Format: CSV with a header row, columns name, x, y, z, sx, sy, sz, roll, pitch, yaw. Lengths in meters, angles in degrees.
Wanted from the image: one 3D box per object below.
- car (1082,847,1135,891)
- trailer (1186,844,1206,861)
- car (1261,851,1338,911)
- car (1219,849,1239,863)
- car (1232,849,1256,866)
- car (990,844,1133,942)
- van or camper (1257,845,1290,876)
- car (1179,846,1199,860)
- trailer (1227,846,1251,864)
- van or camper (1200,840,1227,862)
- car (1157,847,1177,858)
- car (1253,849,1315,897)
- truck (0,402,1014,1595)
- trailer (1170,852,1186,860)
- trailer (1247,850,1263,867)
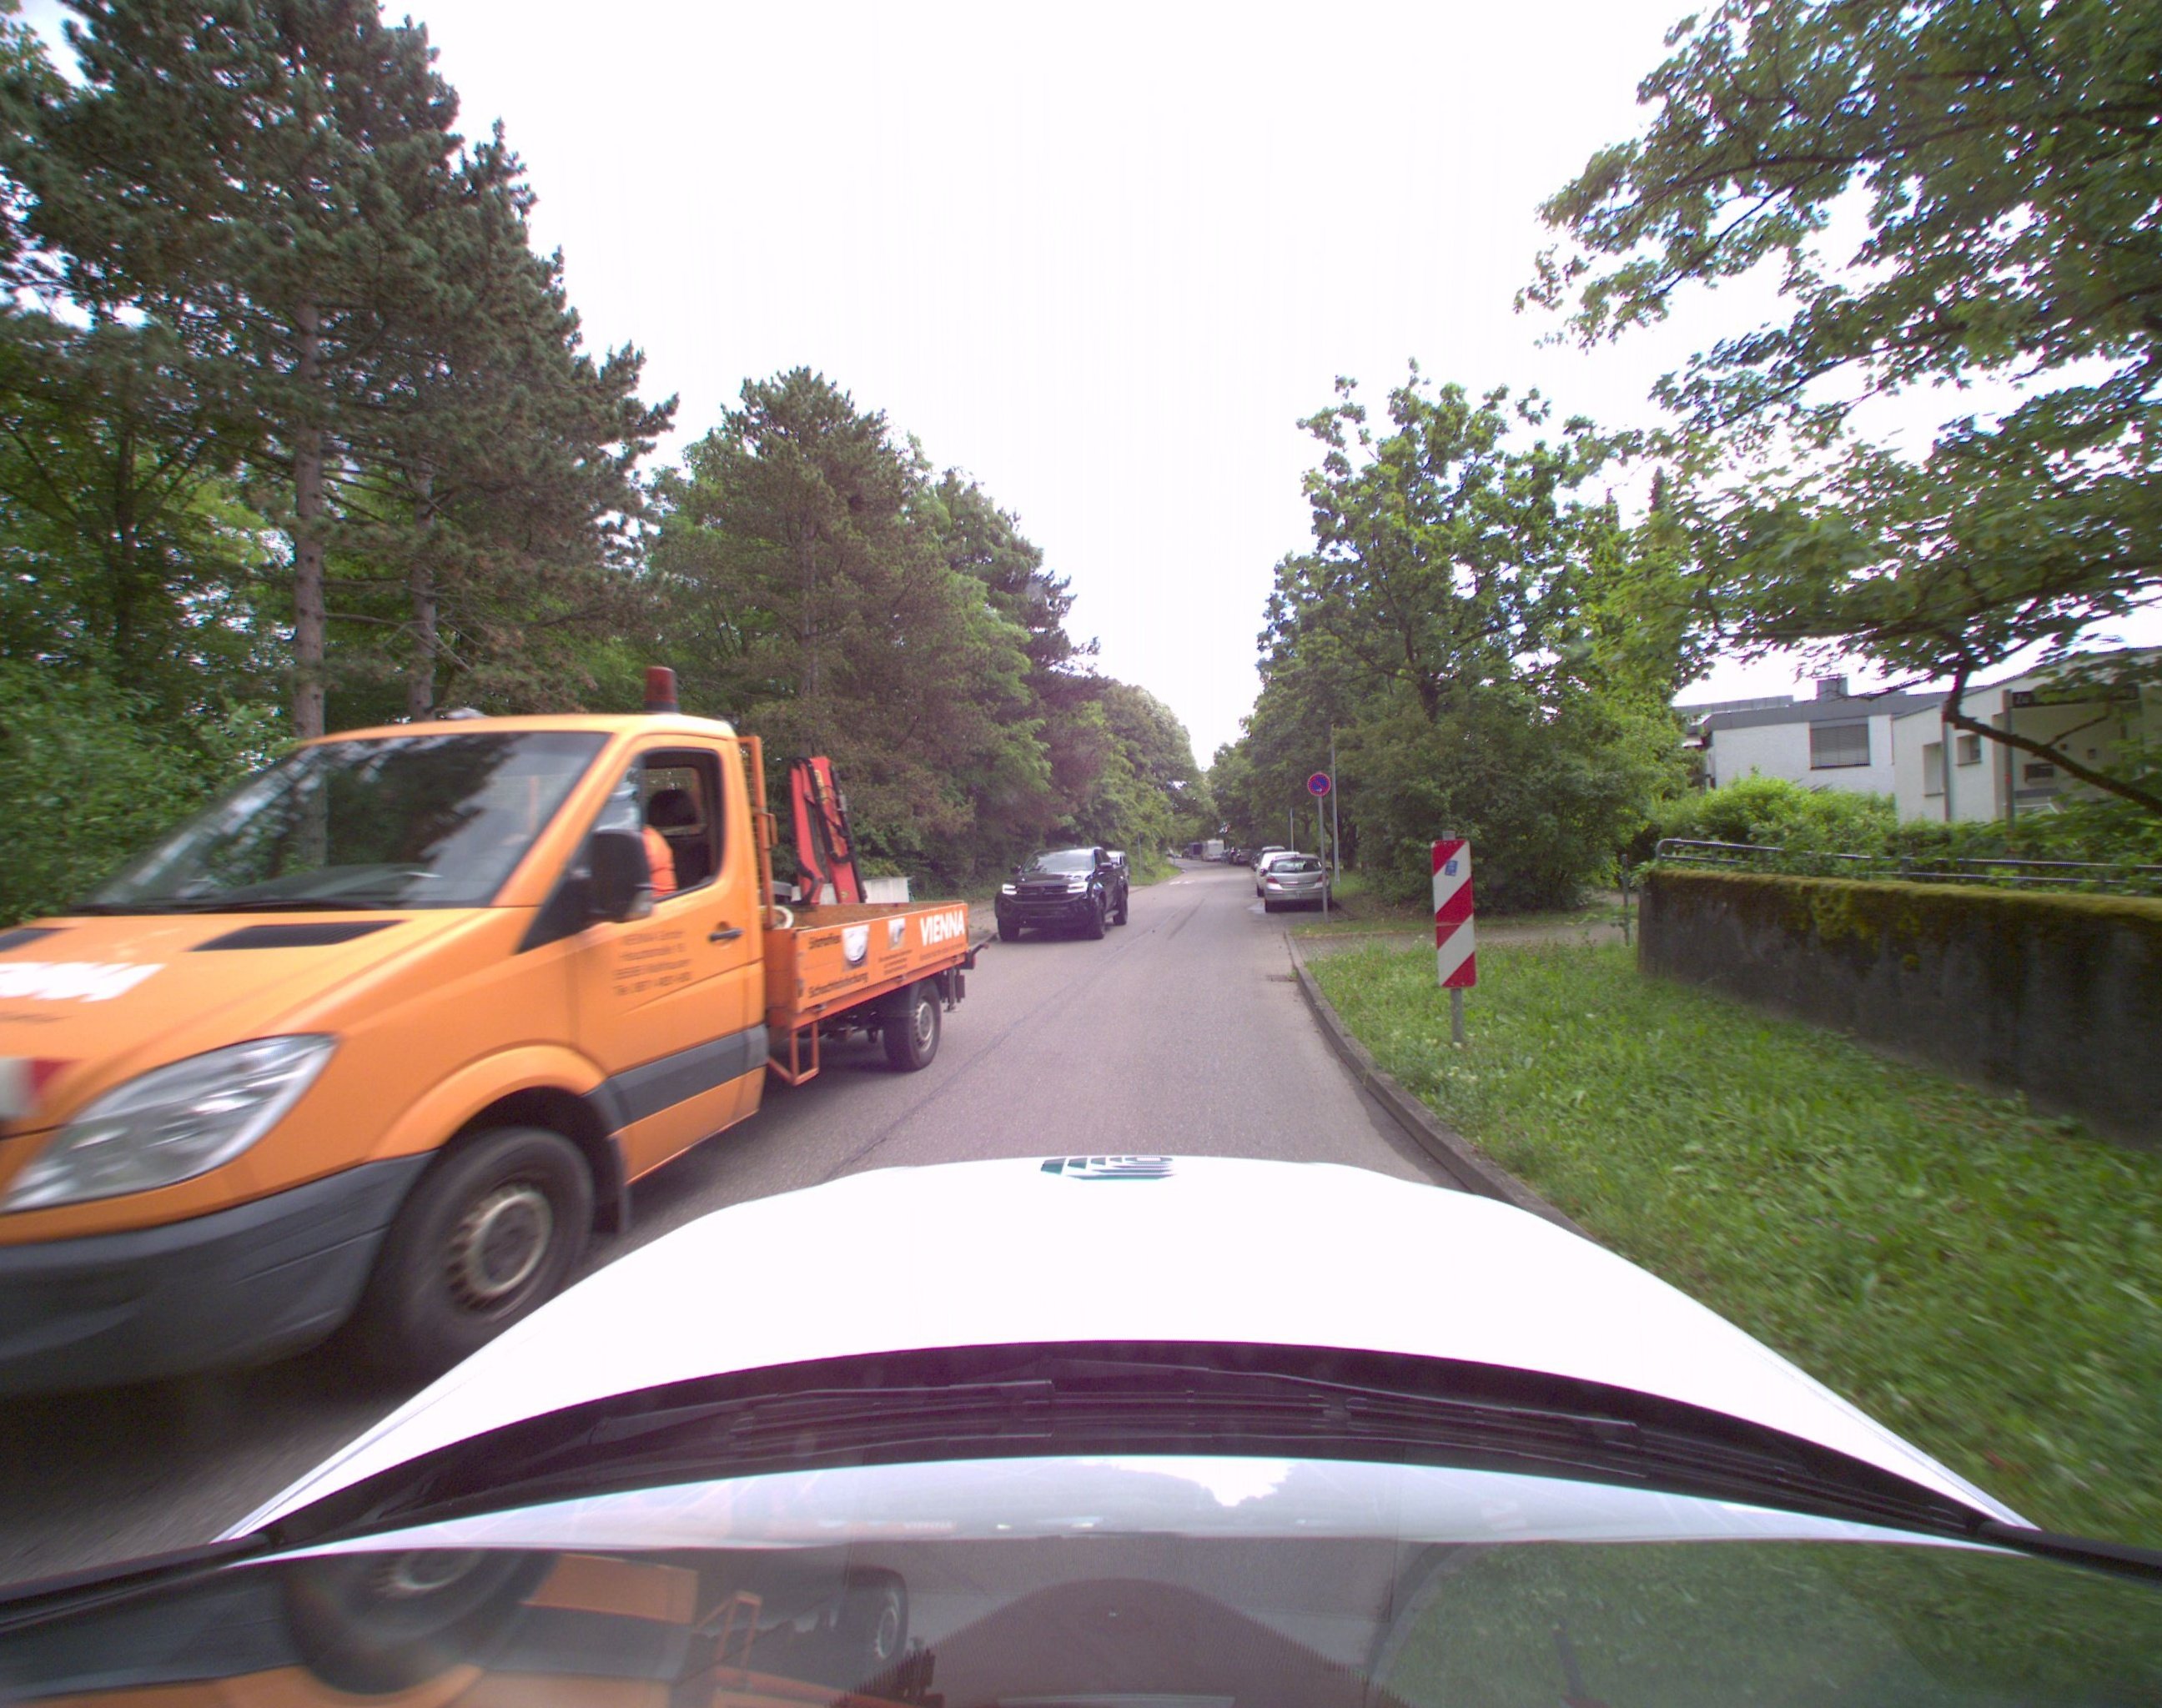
name,x,y,z,sx,sy,sz,roll,pitch,yaw
car,1.360,0.663,38.781,1.709,1.921,4.120,0,1,13
trailer,17.418,-0.221,123.423,1.993,2.398,3.988,-3,0,-8
car,5.880,0.666,22.224,1.780,1.411,4.073,-3,-1,13
car,18.511,0.235,101.974,1.793,1.562,3.837,-3,1,2
car,17.300,0.402,86.435,1.785,1.670,4.504,-3,-1,3
car,-0.200,0.736,17.603,1.981,1.735,5.352,-2,-1,10
van or camper,11.947,0.438,50.705,1.790,1.838,4.333,-2,-2,11
car,17.066,-0.152,128.926,1.993,2.025,3.988,-5,2,-9
trailer,17.934,0.081,92.760,1.970,1.811,5.155,-3,1,4
van or camper,18.201,-0.441,112.560,2.474,2.876,6.887,-3,0,0
car,15.006,-0.312,142.164,2.038,1.803,4.064,-3,1,-14
car,7.269,0.621,29.561,1.874,1.507,5.192,-3,0,11
truck,-2.340,0.282,4.851,2.307,2.470,6.038,0,0,11
trailer,15.808,0.322,132.884,1.650,1.086,3.992,-5,1,-6
trailer,17.090,0.425,79.994,1.272,1.585,2.465,-2,0,7
